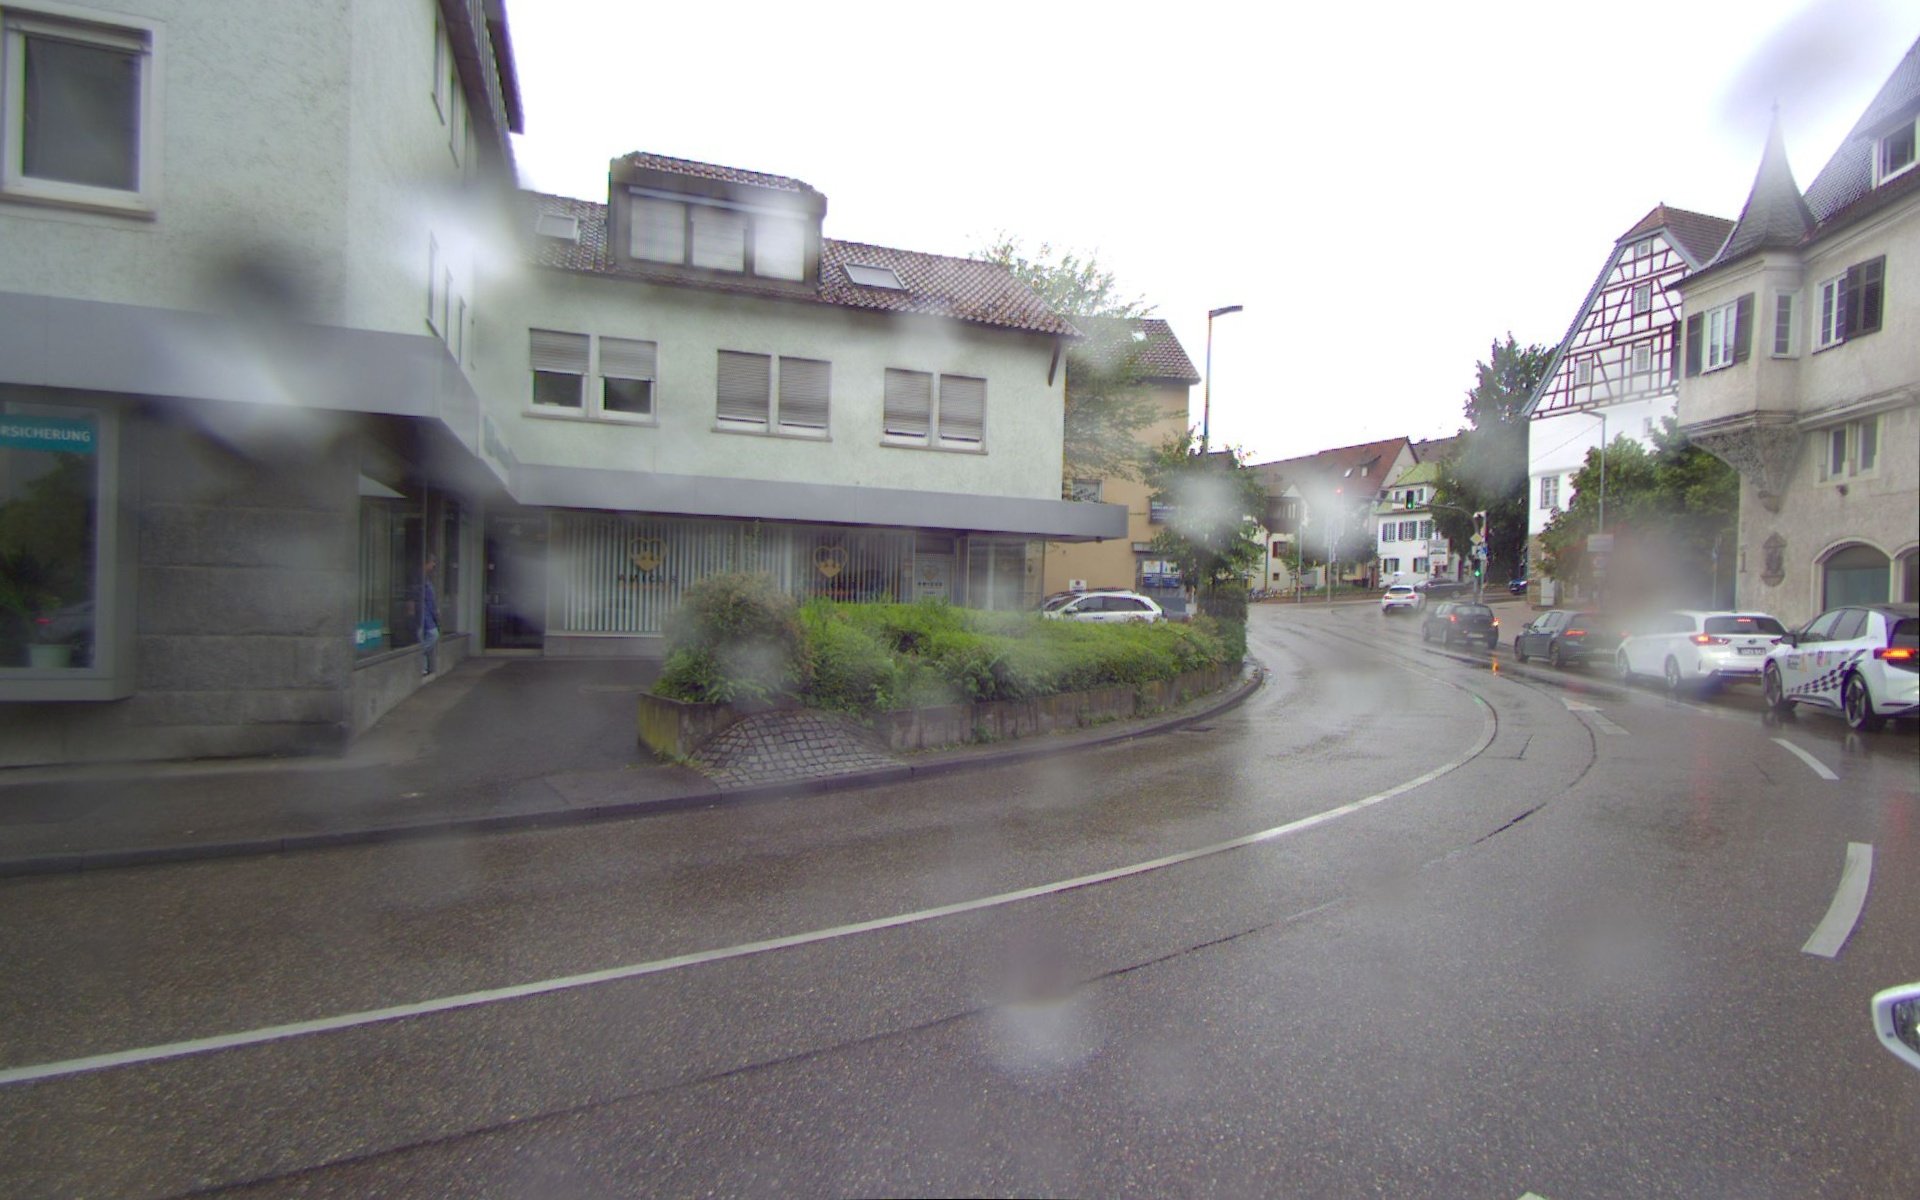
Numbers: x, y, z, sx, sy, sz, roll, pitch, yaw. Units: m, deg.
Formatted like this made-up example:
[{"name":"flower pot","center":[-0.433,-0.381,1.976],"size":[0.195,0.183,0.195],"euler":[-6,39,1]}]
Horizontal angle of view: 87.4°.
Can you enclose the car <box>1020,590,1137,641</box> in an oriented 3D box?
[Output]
[{"name":"car","center":[3.820,0.497,32.712],"size":[3.472,1.597,1.710],"euler":[0,1,-8]}]

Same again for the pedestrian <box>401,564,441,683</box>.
[{"name":"pedestrian","center":[-7.051,0.302,13.152],"size":[0.419,1.528,0.356],"euler":[0,1,-22]}]

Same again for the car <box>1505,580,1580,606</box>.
[{"name":"car","center":[38.133,-0.447,65.786],"size":[4.010,1.409,1.690],"euler":[1,7,-8]}]

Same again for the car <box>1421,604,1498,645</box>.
[{"name":"car","center":[17.696,0.845,35.743],"size":[1.634,1.330,3.625],"euler":[0,1,13]}]

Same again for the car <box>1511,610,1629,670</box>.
[{"name":"car","center":[15.672,0.982,25.994],"size":[1.493,1.380,3.769],"euler":[0,1,13]}]

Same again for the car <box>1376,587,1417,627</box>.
[{"name":"car","center":[23.564,0.347,54.268],"size":[1.941,2.118,3.958],"euler":[0,1,22]}]

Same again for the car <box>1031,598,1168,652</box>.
[{"name":"car","center":[3.889,0.682,28.261],"size":[3.472,1.475,1.710],"euler":[0,1,-8]}]

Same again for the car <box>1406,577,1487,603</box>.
[{"name":"car","center":[31.284,-0.647,64.657],"size":[4.446,1.409,1.648],"euler":[1,7,-8]}]

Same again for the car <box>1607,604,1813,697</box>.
[{"name":"car","center":[13.930,0.858,18.968],"size":[1.755,1.485,4.165],"euler":[0,1,16]}]

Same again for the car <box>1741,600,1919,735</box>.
[{"name":"car","center":[12.133,0.790,13.285],"size":[1.760,1.537,4.239],"euler":[0,-1,22]}]

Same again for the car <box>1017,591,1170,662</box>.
[{"name":"car","center":[3.304,0.630,25.210],"size":[3.472,1.708,1.710],"euler":[0,1,-8]}]

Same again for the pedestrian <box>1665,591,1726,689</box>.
[{"name":"pedestrian","center":[18.252,0.977,24.944],"size":[0.851,2.357,1.231],"euler":[1,0,18]}]

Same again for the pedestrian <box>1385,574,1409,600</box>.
[{"name":"pedestrian","center":[29.925,-0.880,68.801],"size":[1.128,1.765,1.004],"euler":[1,0,-5]}]
